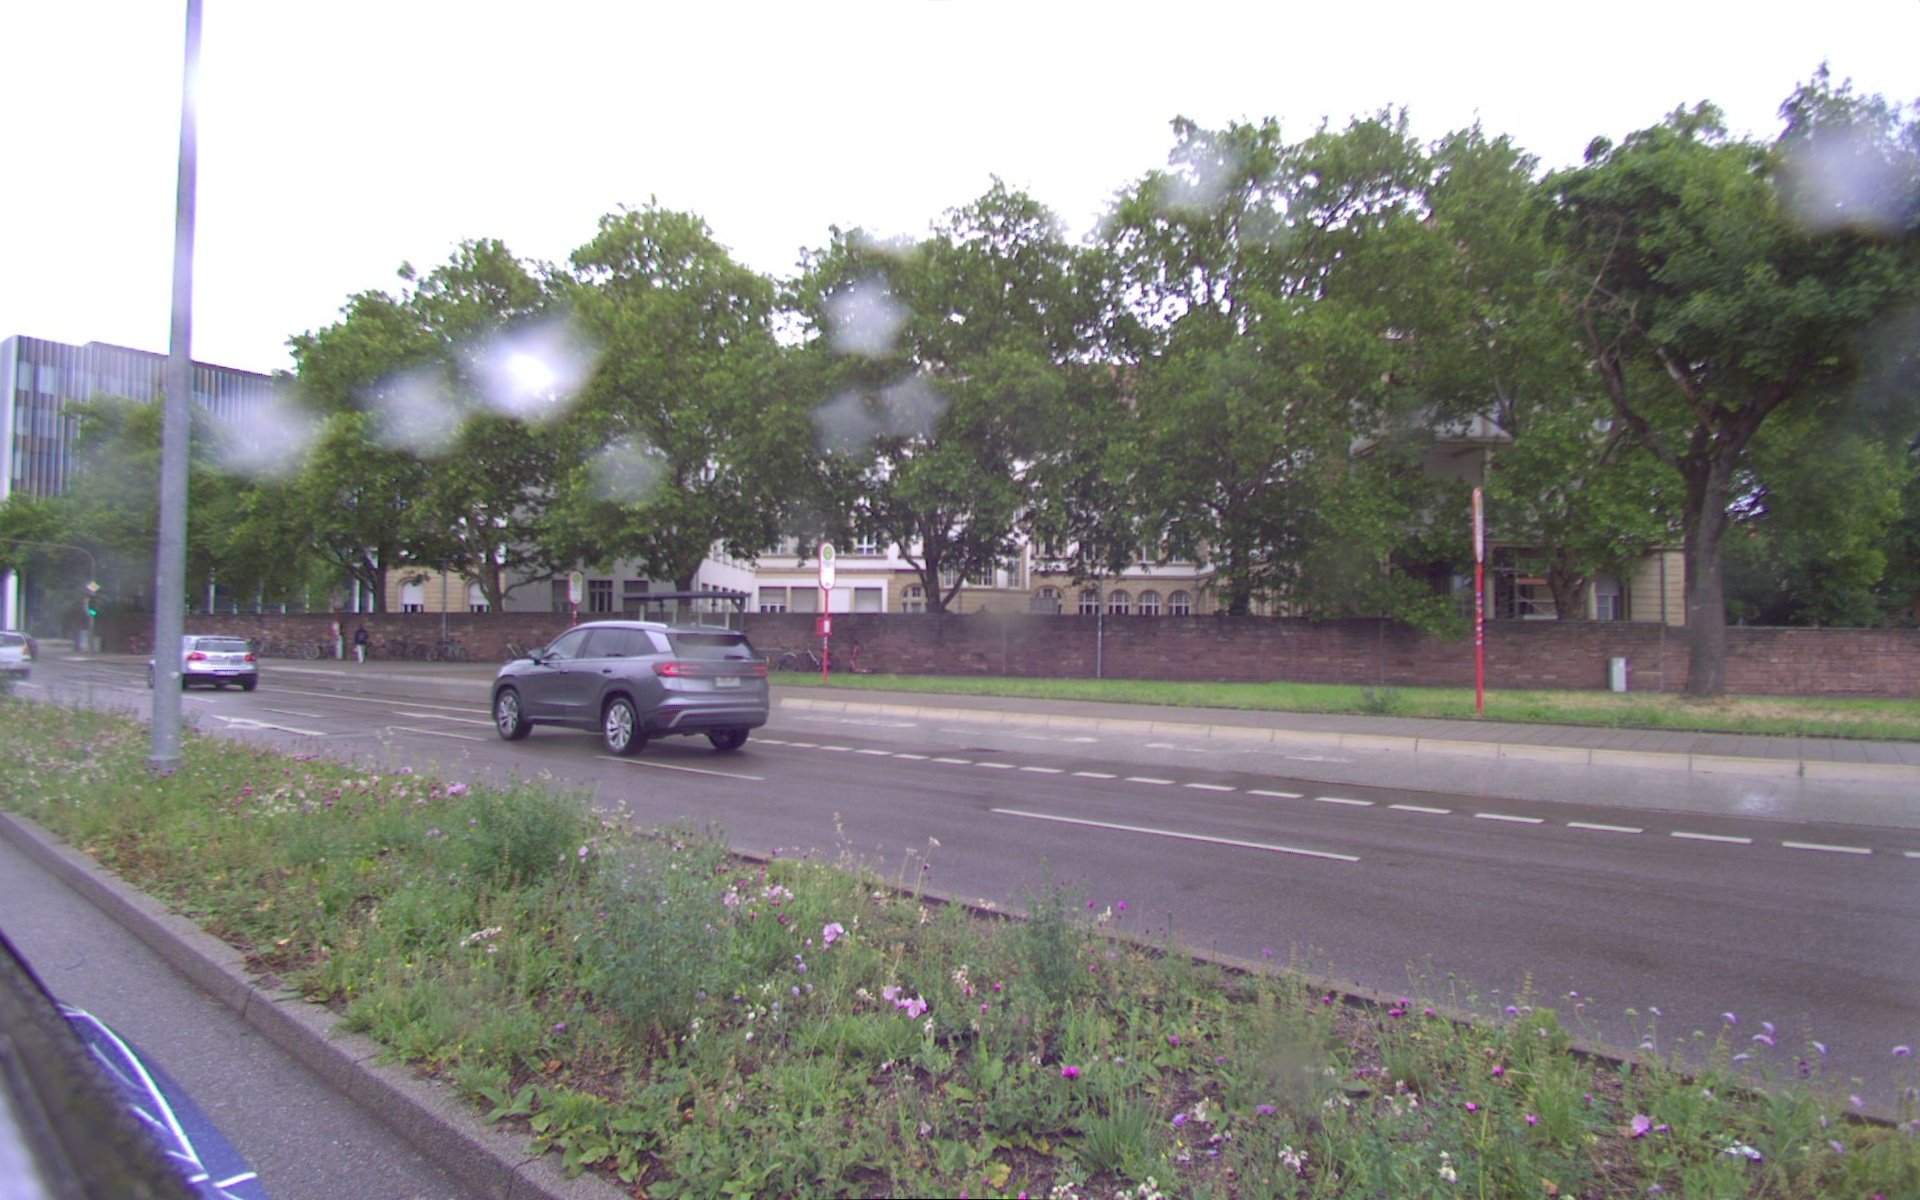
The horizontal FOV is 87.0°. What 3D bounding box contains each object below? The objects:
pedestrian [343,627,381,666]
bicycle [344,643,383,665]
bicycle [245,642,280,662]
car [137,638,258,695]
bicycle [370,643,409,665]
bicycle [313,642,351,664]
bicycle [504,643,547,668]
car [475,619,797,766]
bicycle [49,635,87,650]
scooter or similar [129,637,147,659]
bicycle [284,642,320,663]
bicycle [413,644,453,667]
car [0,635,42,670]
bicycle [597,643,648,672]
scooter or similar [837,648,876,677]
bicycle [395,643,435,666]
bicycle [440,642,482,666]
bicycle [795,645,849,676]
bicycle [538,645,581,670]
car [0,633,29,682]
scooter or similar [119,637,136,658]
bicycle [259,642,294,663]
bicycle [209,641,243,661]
[{"bbox_3d":[-26.309,2.046,44.512,1.395,1.708,0.862,-1,-3,32],"label":"pedestrian"},{"bbox_3d":[-27.613,2.479,46.853,1.692,0.990,0.727,-1,-2,27],"label":"bicycle"},{"bbox_3d":[-35.351,2.621,51.277,1.692,0.990,0.727,-1,-2,27],"label":"bicycle"},{"bbox_3d":[-20.737,1.769,27.485,4.154,1.415,1.662,-2,-4,40],"label":"car"},{"bbox_3d":[-26.024,2.458,46.138,1.692,0.990,0.727,-1,-2,27],"label":"bicycle"},{"bbox_3d":[-29.967,2.526,48.288,1.692,0.990,0.727,-1,-2,27],"label":"bicycle"},{"bbox_3d":[-18.292,2.326,42.588,1.692,0.990,0.727,-1,-2,27],"label":"bicycle"},{"bbox_3d":[-4.481,1.150,13.647,4.600,1.648,1.973,-1,-5,41],"label":"car"},{"bbox_3d":[-73.605,3.544,83.504,0.595,1.231,2.266,-1,-3,25],"label":"bicycle"},{"bbox_3d":[-47.165,2.732,58.078,1.138,1.206,0.388,-1,4,32],"label":"scooter or similar"},{"bbox_3d":[-31.949,2.550,49.143,1.692,0.990,0.727,-1,-2,27],"label":"bicycle"},{"bbox_3d":[-23.297,2.430,44.719,1.692,0.990,0.727,-1,-2,27],"label":"bicycle"},{"bbox_3d":[-44.283,2.394,46.869,4.696,1.552,1.791,-1,-4,38],"label":"car"},{"bbox_3d":[-13.515,2.286,40.517,1.975,1.144,0.571,-1,-3,18],"label":"bicycle"},{"bbox_3d":[-3.824,2.298,37.363,1.353,1.055,0.570,-1,-3,22],"label":"scooter or similar"},{"bbox_3d":[-24.454,2.452,45.414,1.692,0.990,0.727,-1,-2,27],"label":"bicycle"},{"bbox_3d":[-21.387,2.310,43.350,1.692,0.990,0.727,-1,-2,27],"label":"bicycle"},{"bbox_3d":[-5.176,2.251,37.862,1.978,1.144,0.570,-1,-3,22],"label":"bicycle"},{"bbox_3d":[-16.462,2.337,41.601,1.692,0.990,0.727,-1,-2,27],"label":"bicycle"},{"bbox_3d":[-31.367,1.820,32.446,3.865,1.513,1.662,-2,-4,40],"label":"car"},{"bbox_3d":[-48.578,2.765,59.050,1.138,1.206,0.388,-1,4,33],"label":"scooter or similar"},{"bbox_3d":[-33.684,2.570,49.873,1.858,0.990,0.726,-1,-2,31],"label":"bicycle"},{"bbox_3d":[-38.550,2.682,53.171,1.692,0.990,0.727,-1,-2,27],"label":"bicycle"}]
